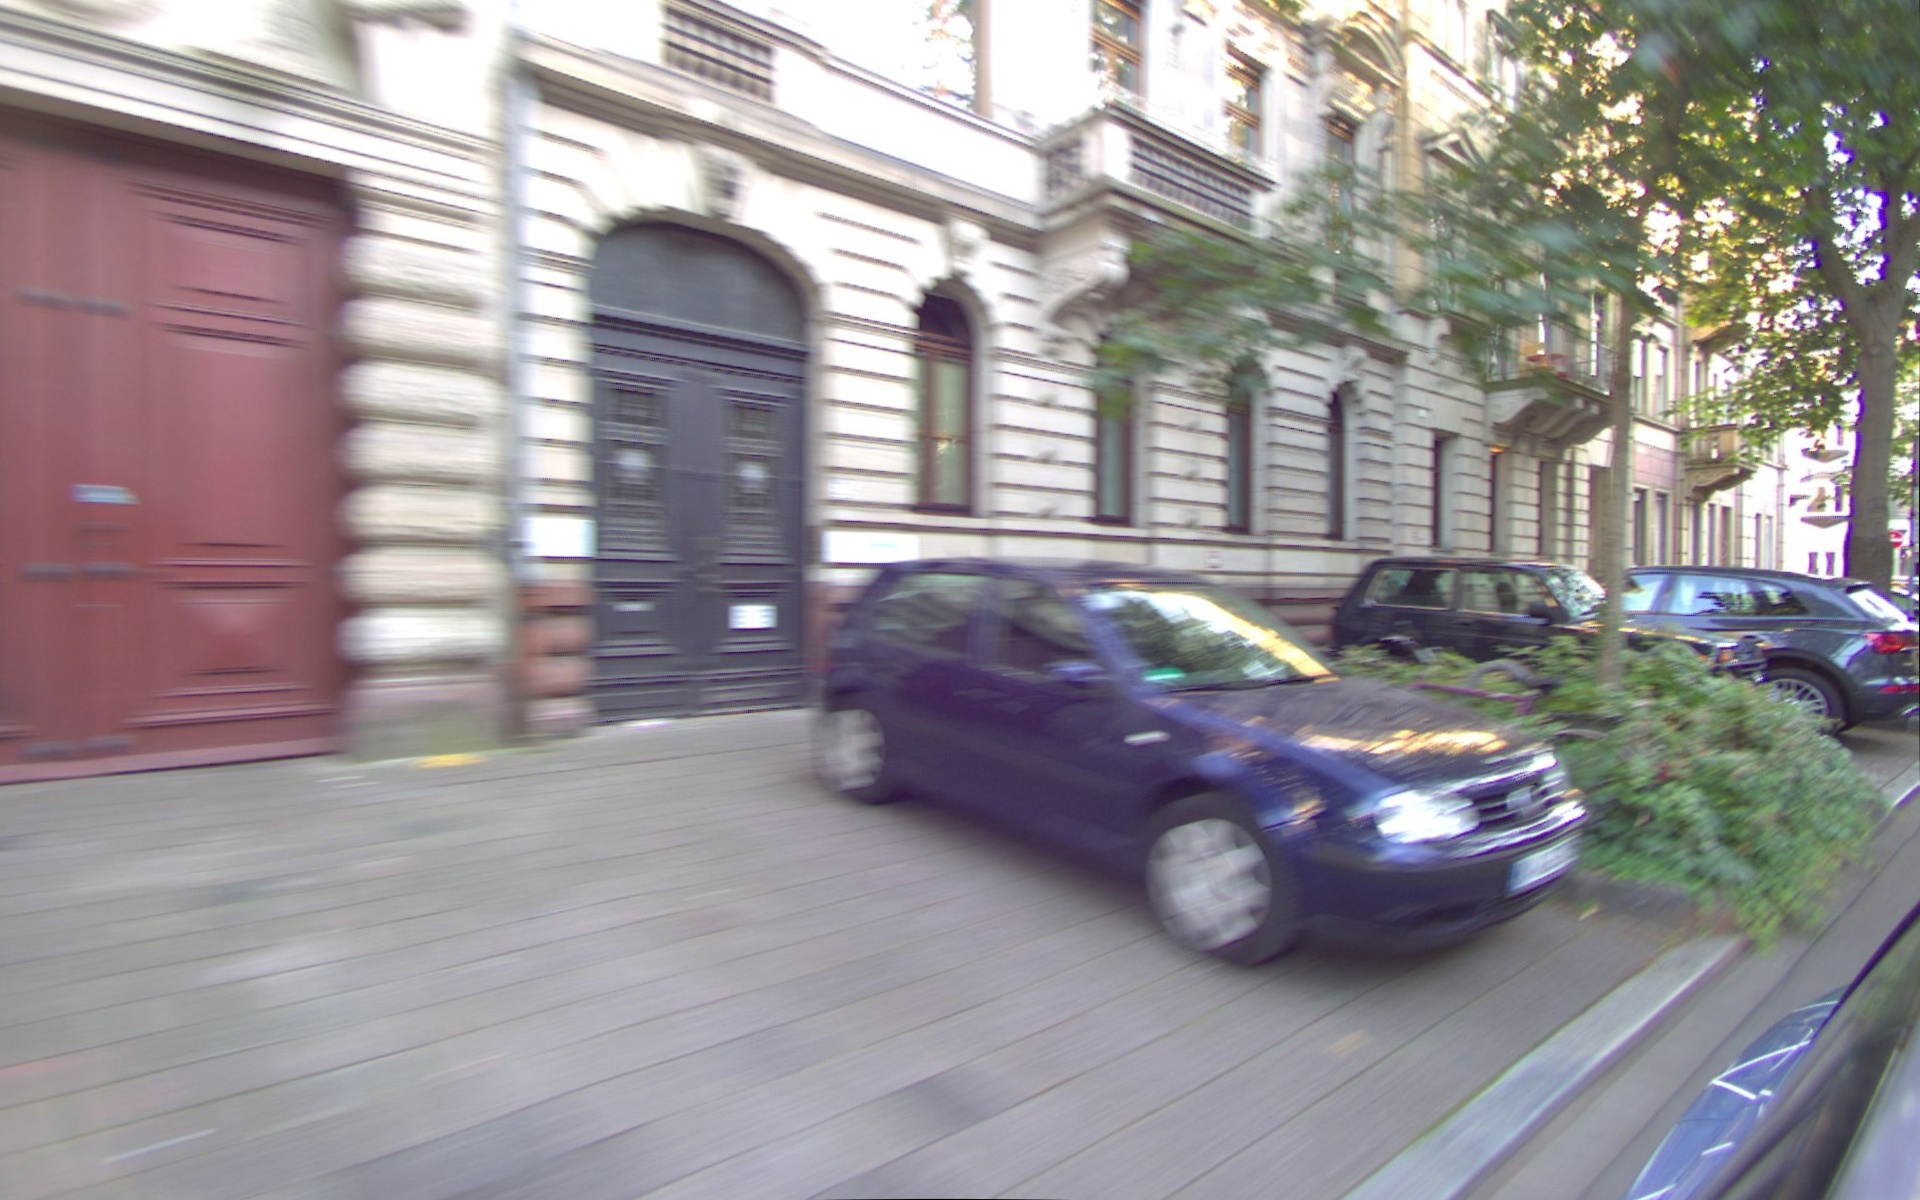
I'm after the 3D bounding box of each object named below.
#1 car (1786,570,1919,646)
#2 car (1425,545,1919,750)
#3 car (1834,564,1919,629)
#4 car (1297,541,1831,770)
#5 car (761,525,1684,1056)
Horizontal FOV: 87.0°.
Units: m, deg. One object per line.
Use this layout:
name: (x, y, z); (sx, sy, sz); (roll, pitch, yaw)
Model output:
car: (20.226, 0.210, 21.467); (1.750, 1.444, 3.875); (0, 4, -41)
car: (7.655, 0.298, 10.852); (1.933, 1.738, 4.451); (-1, 3, -39)
car: (25.749, -0.001, 26.115); (1.829, 1.580, 4.432); (1, 4, -33)
car: (5.497, 0.347, 9.651); (1.733, 1.708, 4.017); (0, 2, -39)
car: (0.839, 0.424, 5.127); (1.822, 1.499, 4.235); (-1, 4, -39)
